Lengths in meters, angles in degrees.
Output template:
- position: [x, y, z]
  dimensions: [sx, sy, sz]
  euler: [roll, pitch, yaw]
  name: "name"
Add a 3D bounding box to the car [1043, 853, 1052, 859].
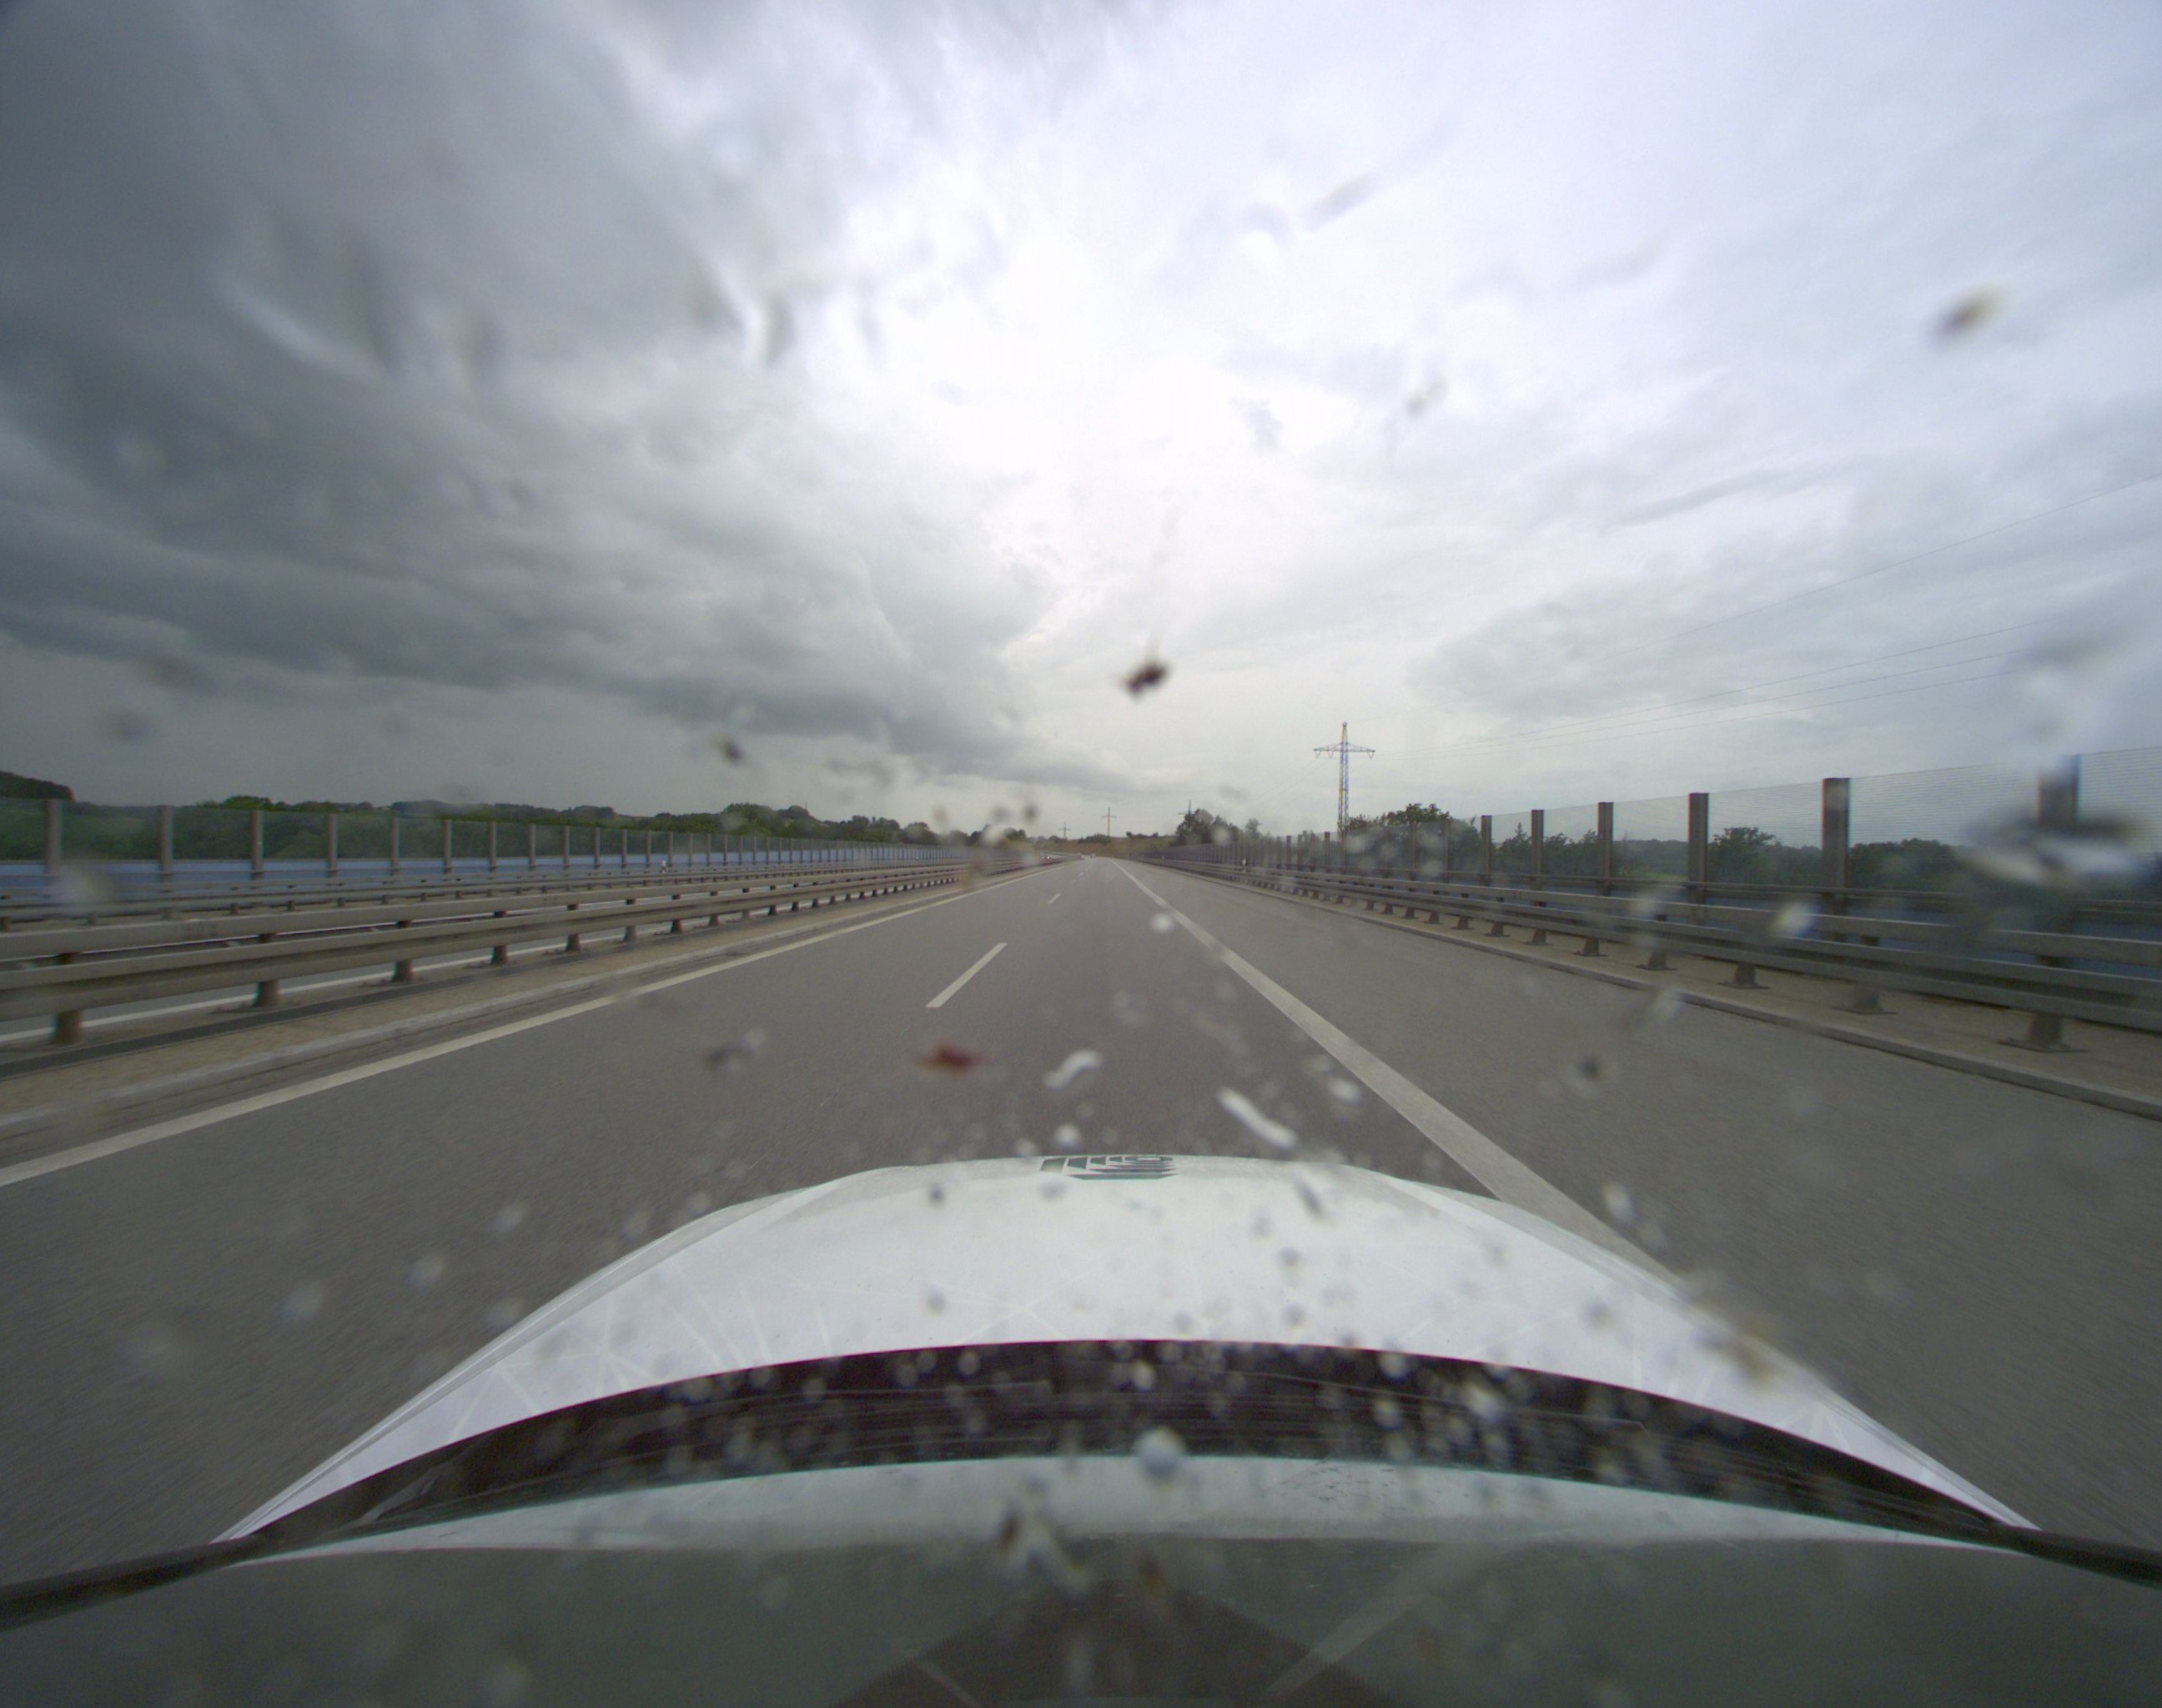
- position: [-8.575, 0.475, 206.515]
  dimensions: [1.986, 1.515, 4.289]
  euler: [0, 0, 2]
  name: "car"
